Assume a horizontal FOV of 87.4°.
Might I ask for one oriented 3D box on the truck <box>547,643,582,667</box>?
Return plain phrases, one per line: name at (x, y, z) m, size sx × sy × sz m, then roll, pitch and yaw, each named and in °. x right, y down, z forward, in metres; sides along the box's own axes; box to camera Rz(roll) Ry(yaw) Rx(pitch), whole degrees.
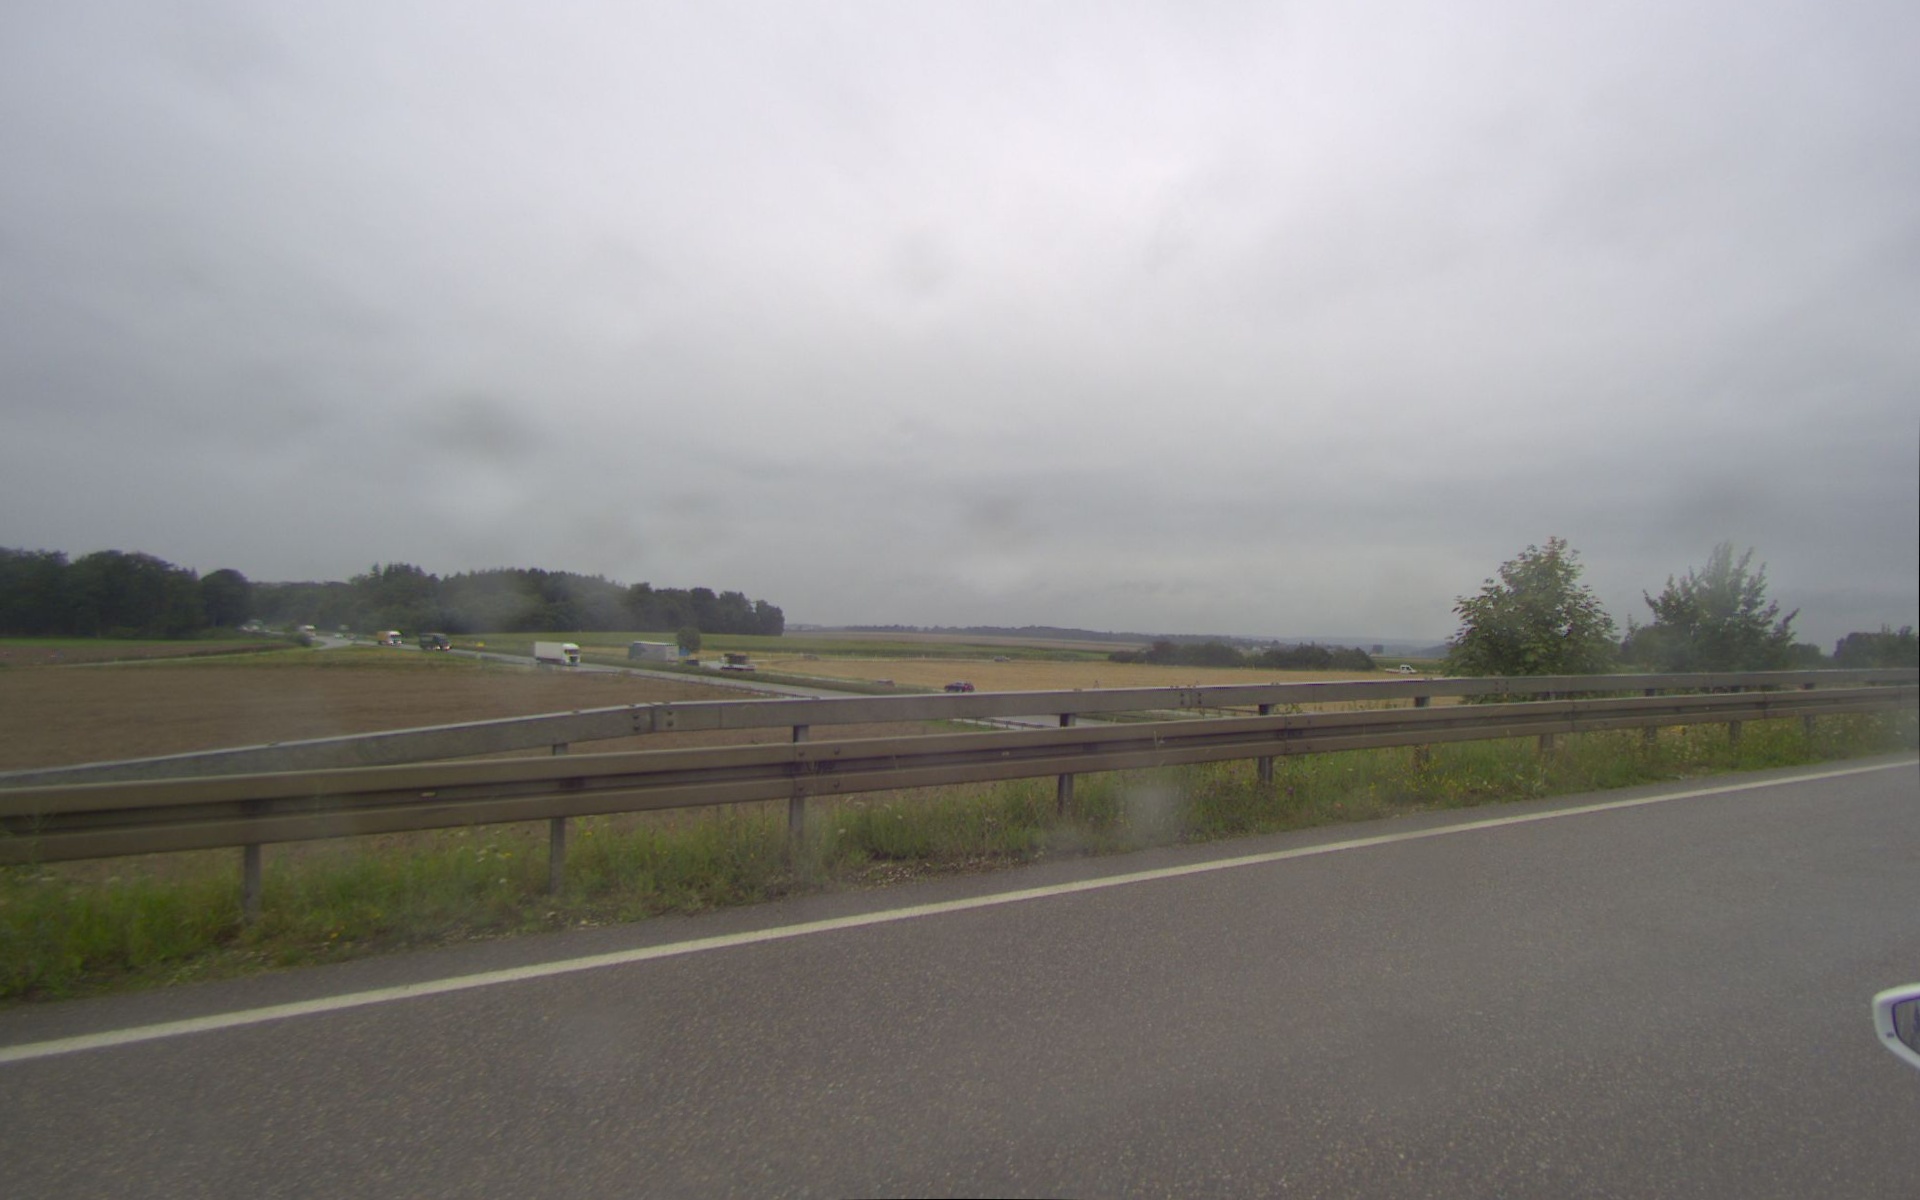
truck at (-74.311, 10.279, 188.561) m, size 2.764 × 3.920 × 10.519 m, roll 3°, pitch -2°, yaw -40°
